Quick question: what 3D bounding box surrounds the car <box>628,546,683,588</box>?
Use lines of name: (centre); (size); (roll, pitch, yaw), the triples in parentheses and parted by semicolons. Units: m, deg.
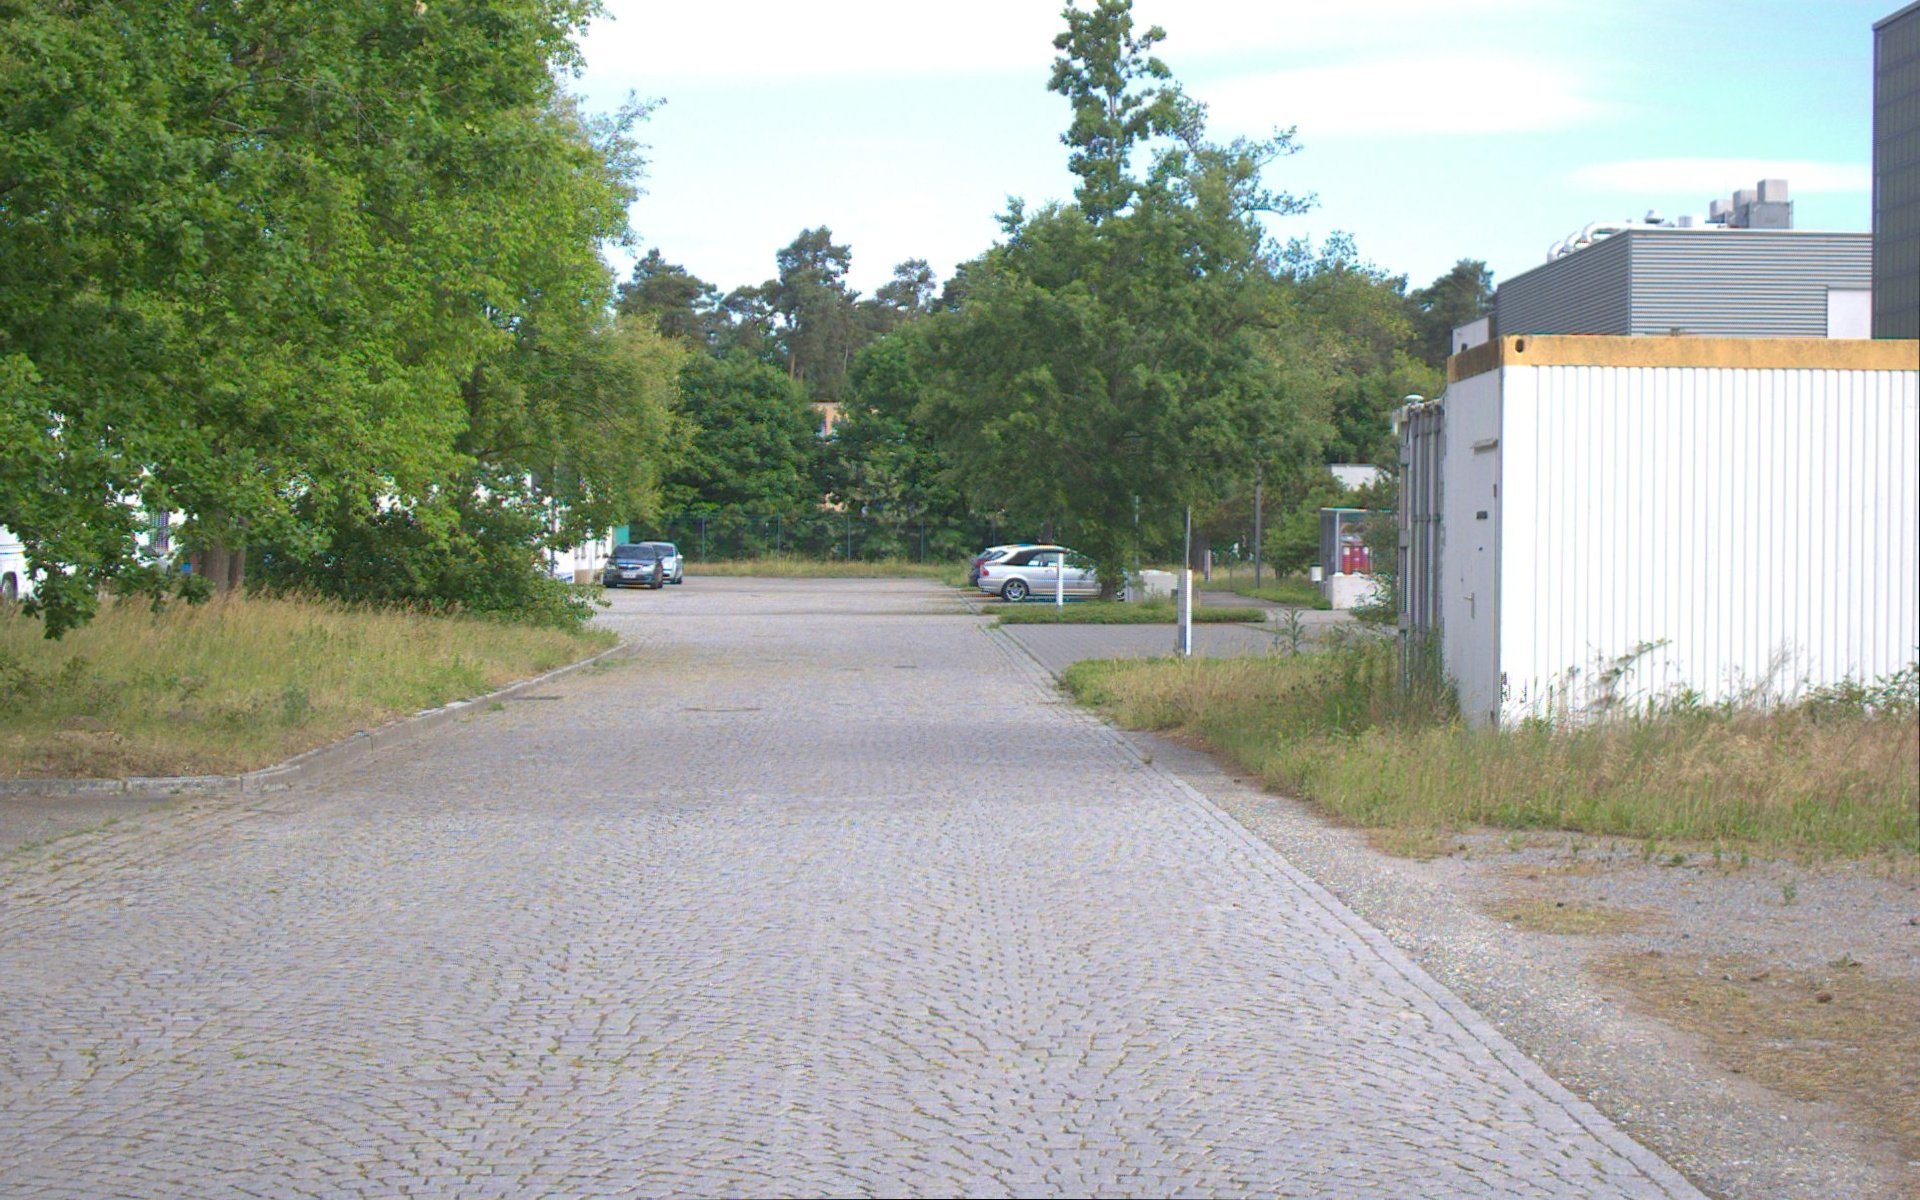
car: (-10.843, -1.193, 122.570); (1.647, 1.453, 3.998); (1, 1, -1)

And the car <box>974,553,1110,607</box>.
car: (2.149, -0.537, 90.840); (3.522, 1.357, 1.622); (-1, 1, 0)

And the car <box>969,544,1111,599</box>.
car: (2.279, -0.831, 98.666); (3.984, 1.470, 1.653); (-1, 1, 0)

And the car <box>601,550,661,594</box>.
car: (-10.725, -0.931, 112.229); (1.647, 1.364, 3.998); (1, 1, -1)

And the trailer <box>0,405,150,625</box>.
trailer: (-16.857, -1.464, 60.446); (2.625, 3.585, 10.177); (1, 1, 1)

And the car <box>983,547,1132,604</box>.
car: (2.632, -0.674, 93.540); (3.984, 1.443, 1.653); (-1, 1, 0)
